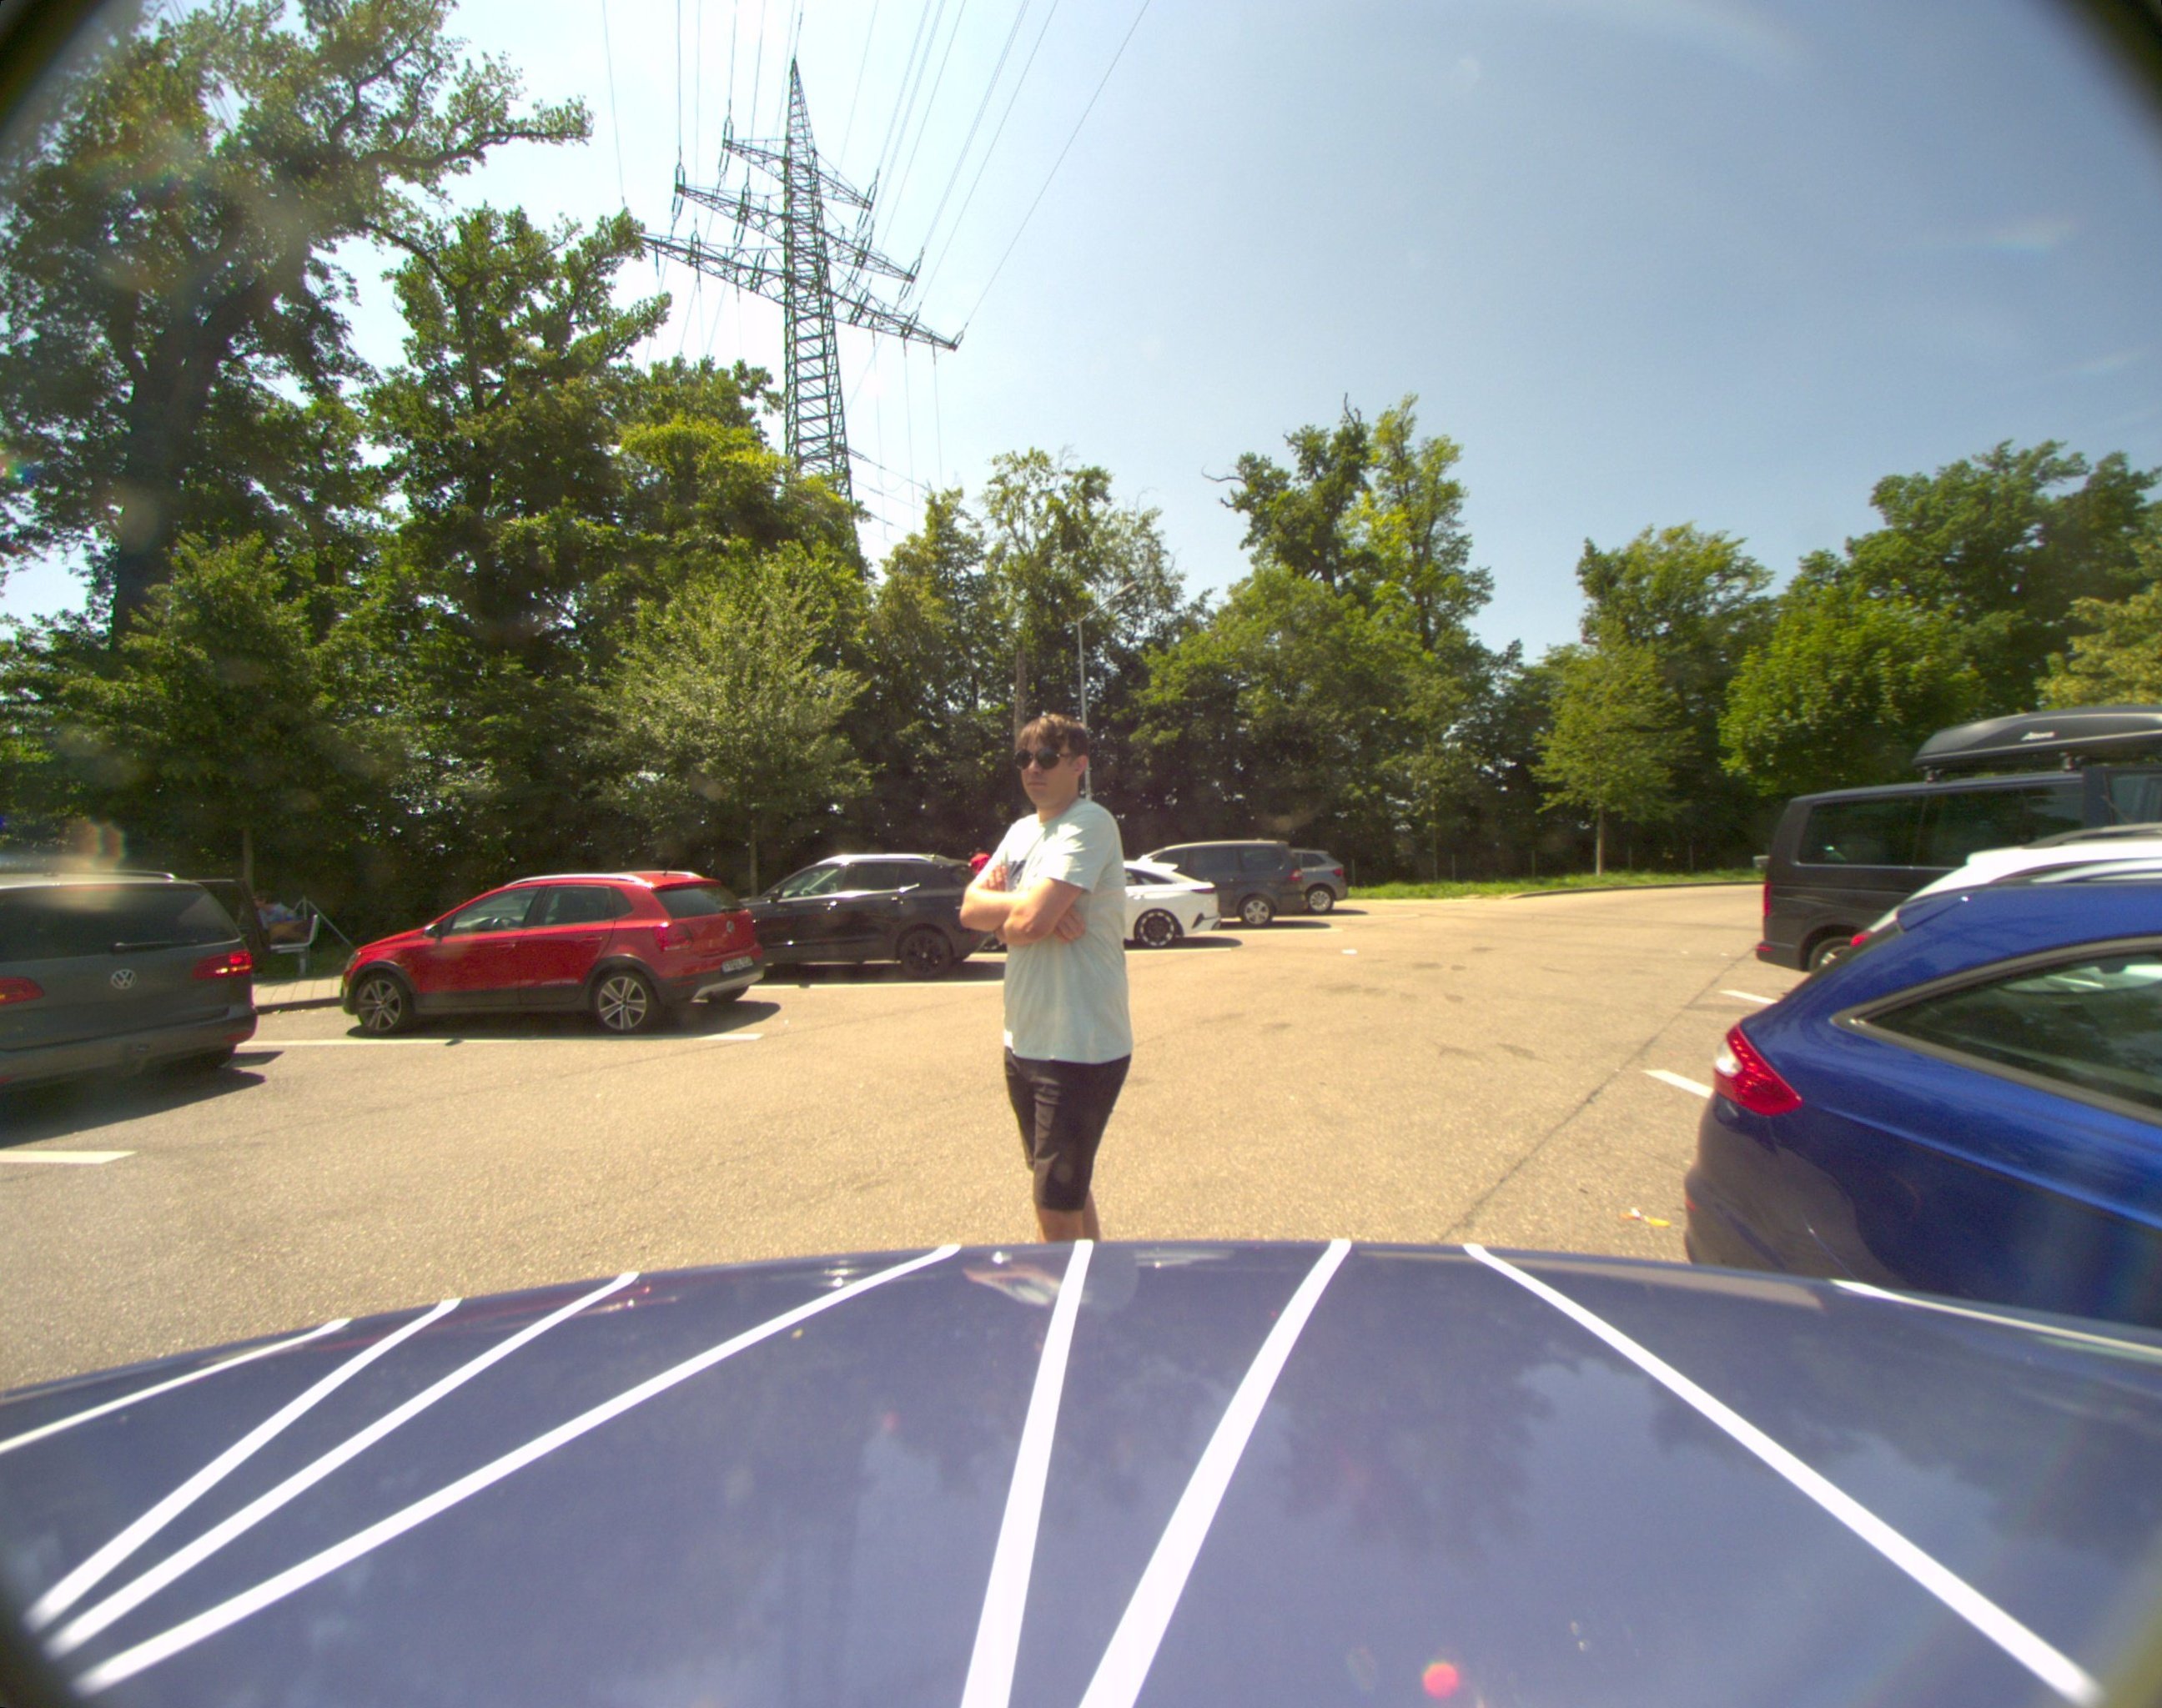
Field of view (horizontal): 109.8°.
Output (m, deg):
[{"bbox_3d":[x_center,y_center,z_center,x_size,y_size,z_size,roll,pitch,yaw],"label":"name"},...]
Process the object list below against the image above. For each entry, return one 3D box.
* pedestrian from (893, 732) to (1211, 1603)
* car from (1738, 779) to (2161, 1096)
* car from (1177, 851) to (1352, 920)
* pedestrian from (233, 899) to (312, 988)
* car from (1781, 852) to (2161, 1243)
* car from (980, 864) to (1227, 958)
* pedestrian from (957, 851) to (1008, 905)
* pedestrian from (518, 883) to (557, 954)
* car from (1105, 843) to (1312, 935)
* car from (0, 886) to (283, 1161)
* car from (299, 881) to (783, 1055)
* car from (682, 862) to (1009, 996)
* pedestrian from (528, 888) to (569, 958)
[{"bbox_3d":[-0.135,0.667,2.070,0.634,1.857,0.747,-2,0,-17],"label":"pedestrian"},{"bbox_3d":[7.304,0.459,5.005,2.048,1.850,4.430,-2,-1,-1],"label":"car"},{"bbox_3d":[4.253,0.711,18.097,3.805,1.468,1.743,-1,1,5],"label":"car"},{"bbox_3d":[-11.777,1.287,11.075,0.680,1.211,0.675,-4,-2,36],"label":"pedestrian"},{"bbox_3d":[4.777,0.704,2.409,1.607,1.405,3.743,-2,-1,-1],"label":"car"},{"bbox_3d":[0.405,0.911,12.722,3.805,1.359,1.803,-1,1,5],"label":"car"},{"bbox_3d":[-2.435,0.587,18.859,0.890,1.292,0.865,-2,0,23],"label":"pedestrian"},{"bbox_3d":[-10.957,1.285,15.321,0.490,1.367,0.506,-2,0,41],"label":"pedestrian"},{"bbox_3d":[2.507,0.684,15.472,3.882,1.680,1.882,-1,0,5],"label":"car"},{"bbox_3d":[-8.345,1.098,5.429,3.950,1.581,1.753,-1,1,11],"label":"car"},{"bbox_3d":[-5.244,1.068,7.645,3.804,1.449,1.637,-1,1,7],"label":"car"},{"bbox_3d":[-3.010,0.942,10.272,3.806,1.538,1.759,-1,1,2],"label":"car"},{"bbox_3d":[-10.171,1.302,14.515,0.490,1.291,0.506,-2,0,41],"label":"pedestrian"}]
